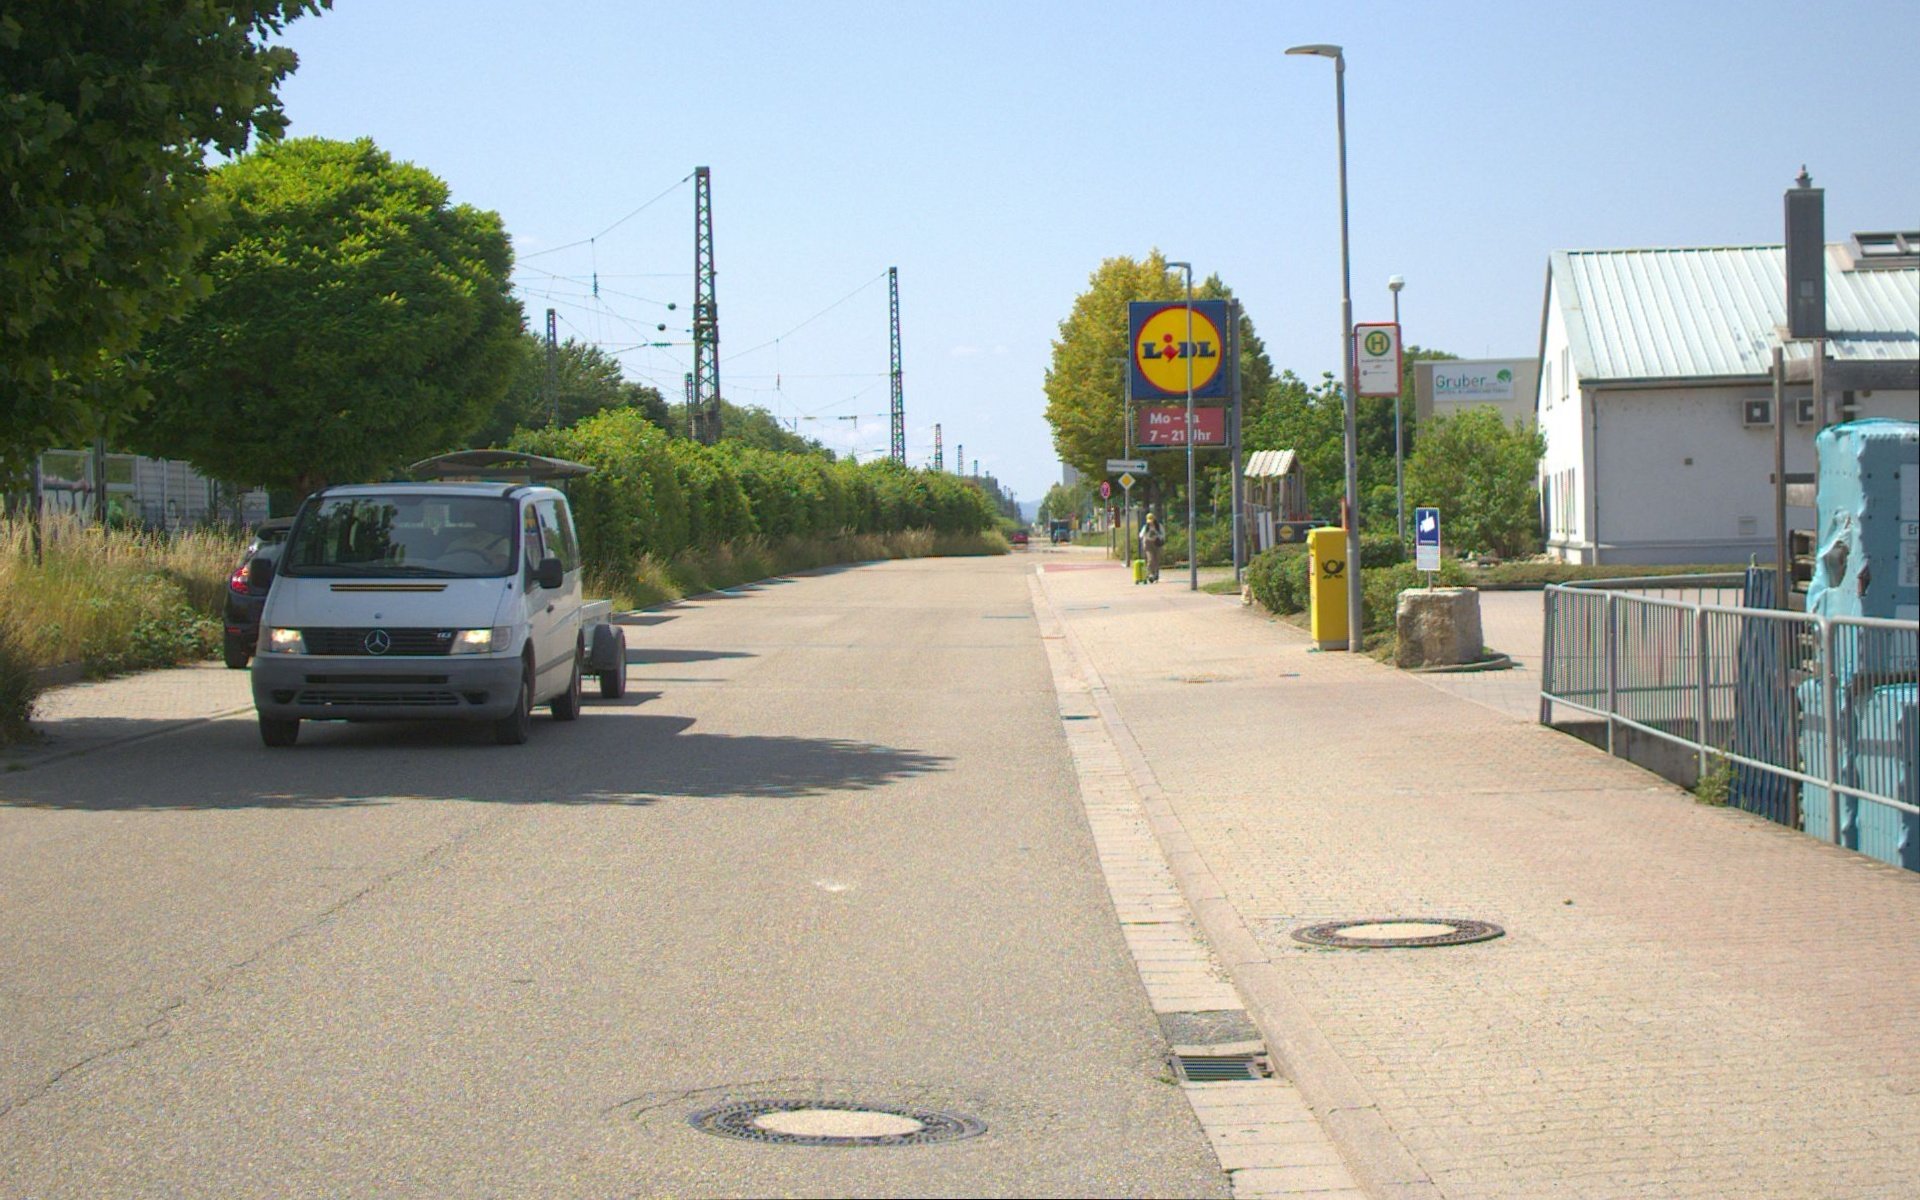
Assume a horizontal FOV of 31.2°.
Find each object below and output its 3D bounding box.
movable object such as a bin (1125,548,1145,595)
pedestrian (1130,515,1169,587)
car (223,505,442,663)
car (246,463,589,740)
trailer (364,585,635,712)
[{"bbox_3d":[3.903,-0.642,76.787,0.374,1.026,0.499,-2,1,-3],"label":"movable object such as a bin"},{"bbox_3d":[4.259,-1.113,77.270,0.761,1.596,1.210,-1,1,-2],"label":"pedestrian"},{"bbox_3d":[-6.609,-0.208,36.528,1.741,1.590,3.580,0,1,-1],"label":"car"},{"bbox_3d":[-3.880,-0.033,25.315,1.838,1.851,4.484,0,1,0],"label":"car"},{"bbox_3d":[-3.898,0.383,29.732,1.818,0.847,4.223,-2,2,-1],"label":"trailer"}]
